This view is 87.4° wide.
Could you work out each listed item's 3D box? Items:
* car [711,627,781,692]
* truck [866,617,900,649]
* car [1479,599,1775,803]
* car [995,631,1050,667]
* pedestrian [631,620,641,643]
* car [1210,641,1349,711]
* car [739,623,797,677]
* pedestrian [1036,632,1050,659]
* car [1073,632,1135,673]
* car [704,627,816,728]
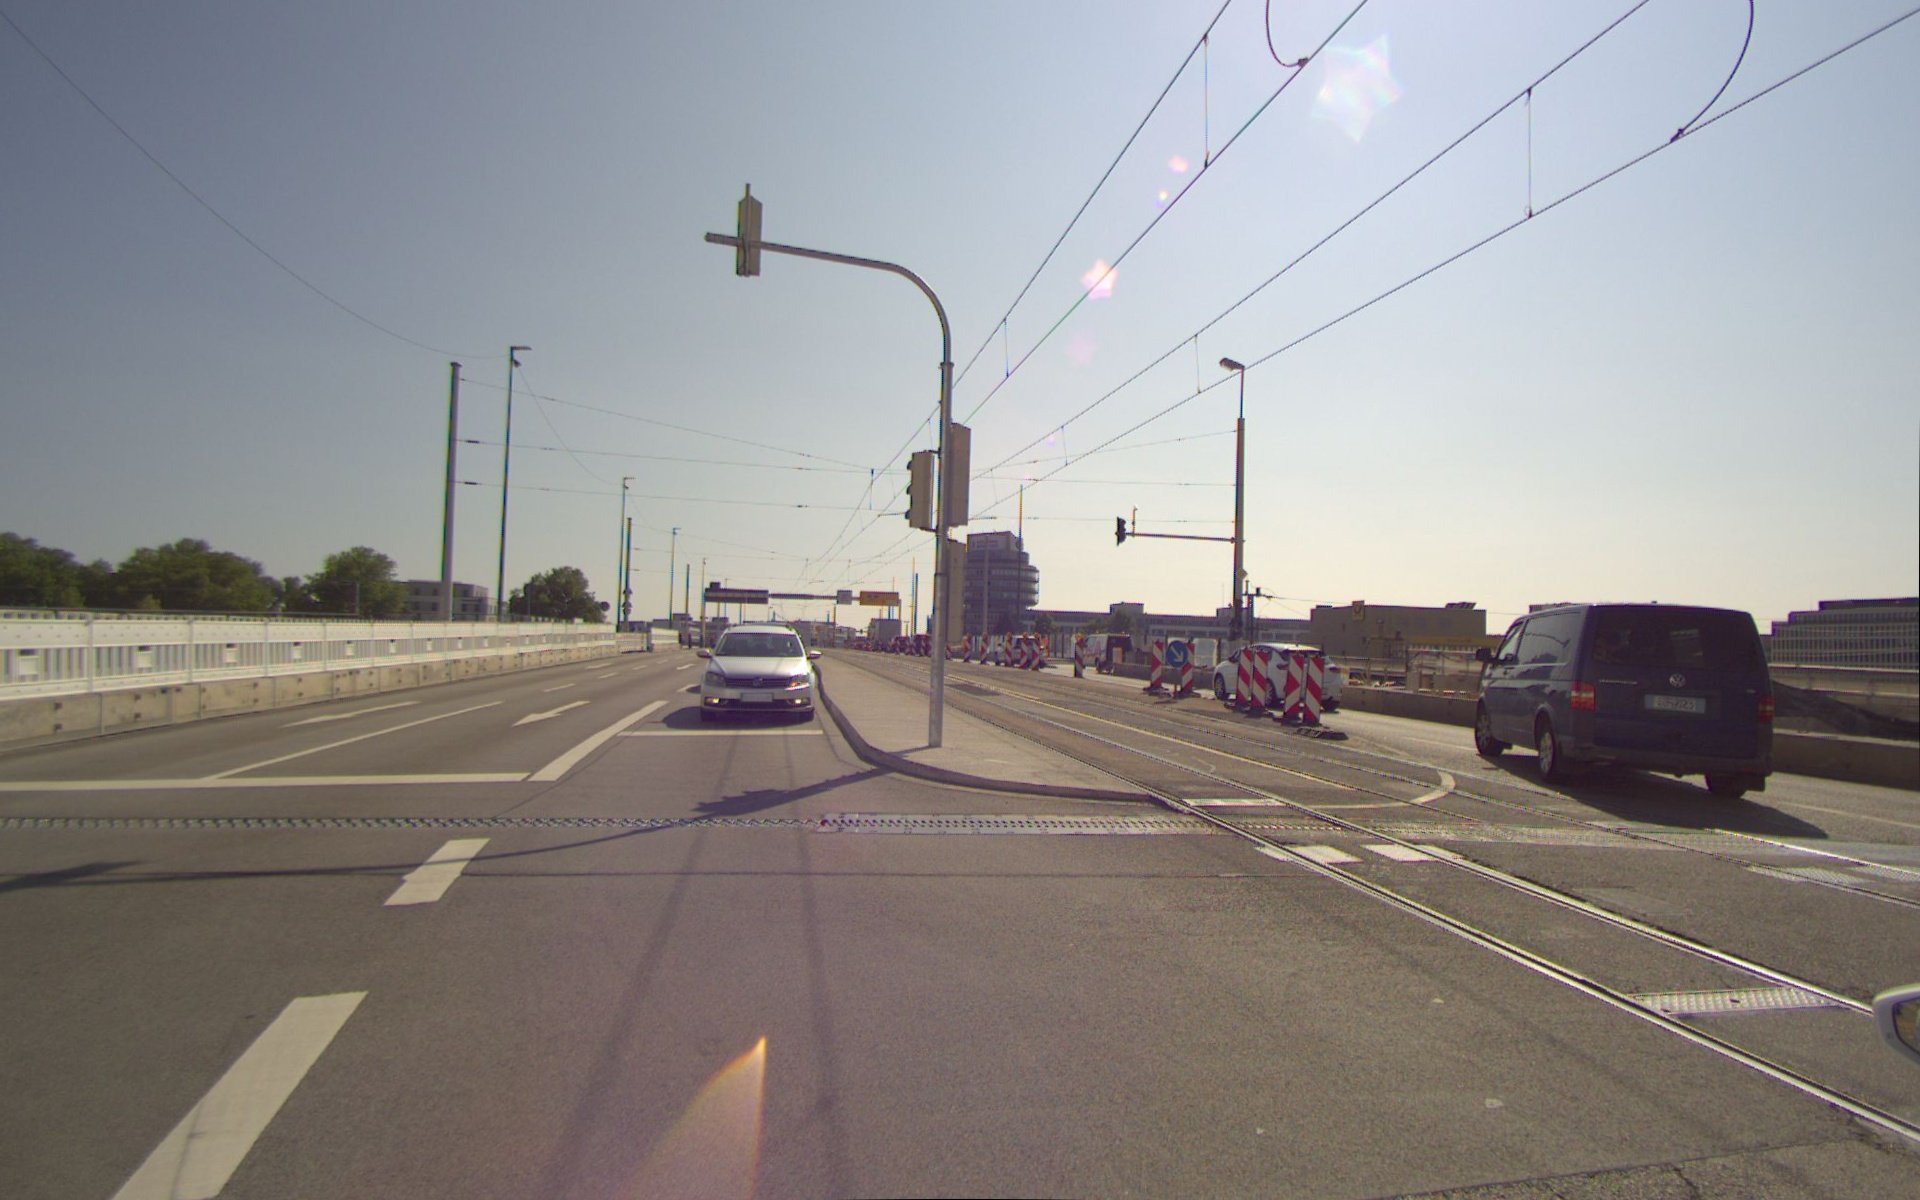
[{"bbox_3d":[-5.180,1.405,24.527,1.511,1.456,3.972,1,-2,-11],"label":"car"},{"bbox_3d":[-8.530,3.603,110.484,2.424,3.176,11.195,2,-2,-10],"label":"truck"},{"bbox_3d":[7.484,1.028,11.763,1.785,1.931,4.056,0,-2,17],"label":"car"},{"bbox_3d":[2.911,2.314,47.757,1.693,1.552,3.690,3,-2,-11],"label":"car"},{"bbox_3d":[-27.739,2.674,86.018,0.625,1.918,0.751,3,-2,-11],"label":"pedestrian"},{"bbox_3d":[7.470,1.749,23.830,1.693,1.423,3.406,3,-2,-11],"label":"car"},{"bbox_3d":[-6.087,1.552,31.834,1.645,1.570,4.547,1,-2,-11],"label":"car"},{"bbox_3d":[6.005,3.273,72.610,0.770,1.960,0.798,1,-3,-11],"label":"pedestrian"},{"bbox_3d":[7.742,2.820,54.409,1.851,2.059,4.884,3,-3,-9],"label":"car"},{"bbox_3d":[-3.401,1.204,17.045,1.614,1.456,4.634,0,-2,-12],"label":"car"}]
